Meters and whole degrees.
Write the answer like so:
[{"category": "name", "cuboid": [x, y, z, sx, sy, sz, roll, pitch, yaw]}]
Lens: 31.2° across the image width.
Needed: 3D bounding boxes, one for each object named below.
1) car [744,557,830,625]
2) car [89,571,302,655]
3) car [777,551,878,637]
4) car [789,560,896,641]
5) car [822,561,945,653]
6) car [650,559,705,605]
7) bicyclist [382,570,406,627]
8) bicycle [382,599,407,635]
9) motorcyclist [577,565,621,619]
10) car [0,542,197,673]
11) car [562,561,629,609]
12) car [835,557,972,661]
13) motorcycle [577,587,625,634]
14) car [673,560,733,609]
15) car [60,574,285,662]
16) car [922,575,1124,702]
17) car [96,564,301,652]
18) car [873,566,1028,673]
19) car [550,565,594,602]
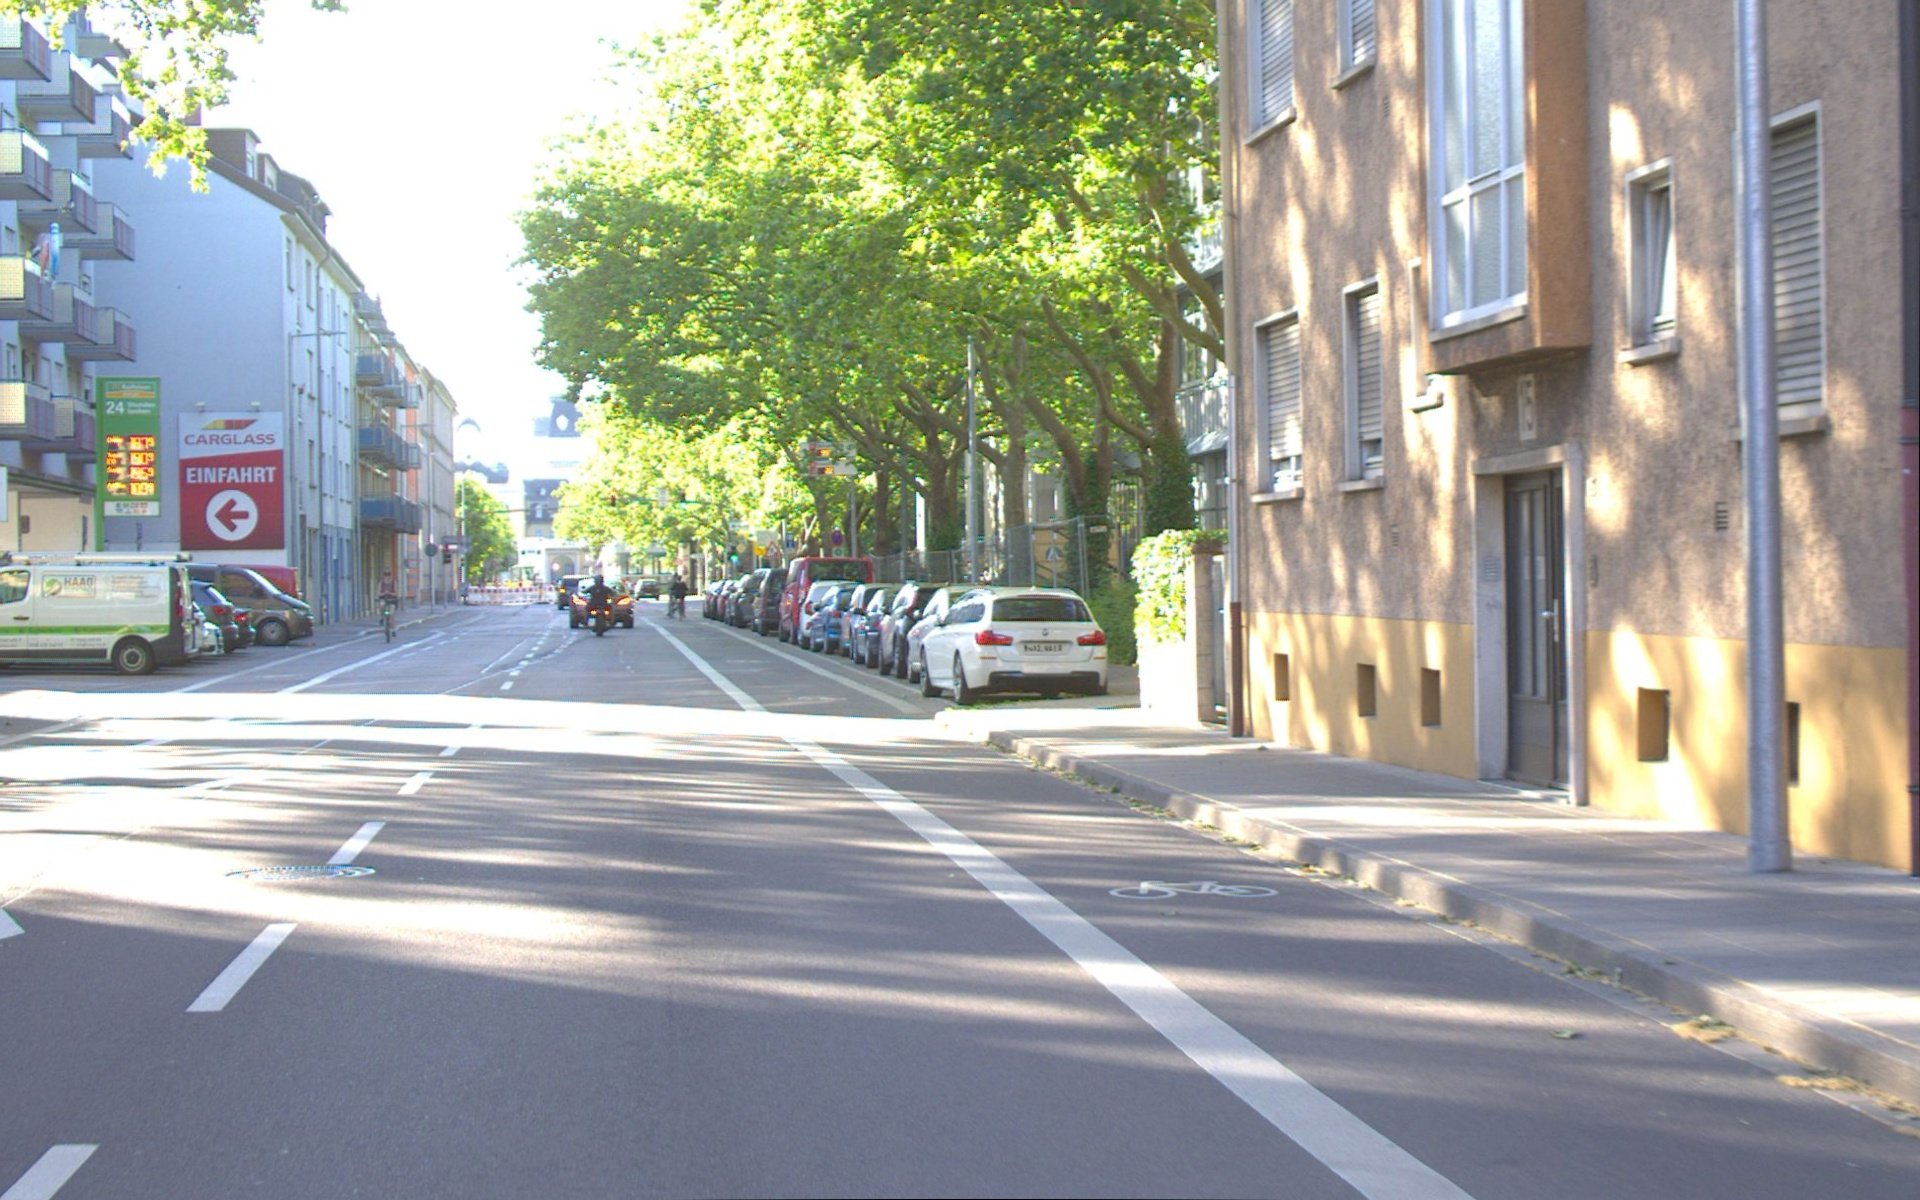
[{"category": "car", "cuboid": [-4.631, -0.256, 91.755, 2.032, 1.736, 4.094, -1, 1, -6]}, {"category": "car", "cuboid": [-15.214, 0.238, 68.603, 3.986, 1.590, 2.000, -1, 1, -8]}, {"category": "car", "cuboid": [-3.117, -0.159, 80.122, 2.032, 1.927, 4.094, -1, 1, -6]}, {"category": "car", "cuboid": [-2.620, -0.012, 75.905, 2.032, 1.713, 4.094, -1, 1, -6]}, {"category": "car", "cuboid": [-1.524, 0.108, 67.021, 2.032, 1.713, 4.094, -1, 1, -6]}, {"category": "car", "cuboid": [-11.060, -0.717, 134.406, 2.032, 1.736, 4.094, -1, 1, -6]}, {"category": "bicyclist", "cuboid": [-13.986, -0.034, 84.984, 0.541, 1.389, 0.509, -1, 0, -11]}, {"category": "bicycle", "cuboid": [-13.967, 0.414, 84.910, 0.541, 0.840, 1.605, -1, 1, -11]}, {"category": "motorcyclist", "cuboid": [-9.217, -0.213, 87.738, 0.970, 1.342, 1.138, 1, 1, -12]}, {"category": "car", "cuboid": [-15.667, 0.118, 60.300, 4.301, 2.218, 2.000, -1, 1, -8]}, {"category": "car", "cuboid": [-10.807, -0.452, 101.872, 1.923, 1.384, 4.001, 0, 1, -6]}, {"category": "car", "cuboid": [-1.045, 0.140, 60.898, 2.032, 1.753, 4.094, -1, 1, -6]}, {"category": "motorcycle", "cuboid": [-9.170, 0.261, 87.731, 0.973, 1.128, 2.806, 1, 1, -10]}, {"category": "car", "cuboid": [-9.476, -0.577, 126.379, 2.032, 1.736, 4.094, -1, 1, -6]}, {"category": "car", "cuboid": [-14.938, 0.327, 65.398, 3.986, 1.590, 2.000, -1, 1, -8]}, {"category": "car", "cuboid": [0.745, 0.446, 43.650, 2.032, 1.499, 4.094, -1, 1, -6]}, {"category": "car", "cuboid": [-15.728, 0.147, 71.163, 3.986, 1.737, 2.000, -1, 1, -8]}, {"category": "car", "cuboid": [-0.197, 0.278, 55.051, 2.032, 1.611, 4.094, -1, 1, -6]}, {"category": "car", "cuboid": [-18.589, -0.796, 164.833, 2.032, 1.736, 4.094, -1, 1, -6]}]
